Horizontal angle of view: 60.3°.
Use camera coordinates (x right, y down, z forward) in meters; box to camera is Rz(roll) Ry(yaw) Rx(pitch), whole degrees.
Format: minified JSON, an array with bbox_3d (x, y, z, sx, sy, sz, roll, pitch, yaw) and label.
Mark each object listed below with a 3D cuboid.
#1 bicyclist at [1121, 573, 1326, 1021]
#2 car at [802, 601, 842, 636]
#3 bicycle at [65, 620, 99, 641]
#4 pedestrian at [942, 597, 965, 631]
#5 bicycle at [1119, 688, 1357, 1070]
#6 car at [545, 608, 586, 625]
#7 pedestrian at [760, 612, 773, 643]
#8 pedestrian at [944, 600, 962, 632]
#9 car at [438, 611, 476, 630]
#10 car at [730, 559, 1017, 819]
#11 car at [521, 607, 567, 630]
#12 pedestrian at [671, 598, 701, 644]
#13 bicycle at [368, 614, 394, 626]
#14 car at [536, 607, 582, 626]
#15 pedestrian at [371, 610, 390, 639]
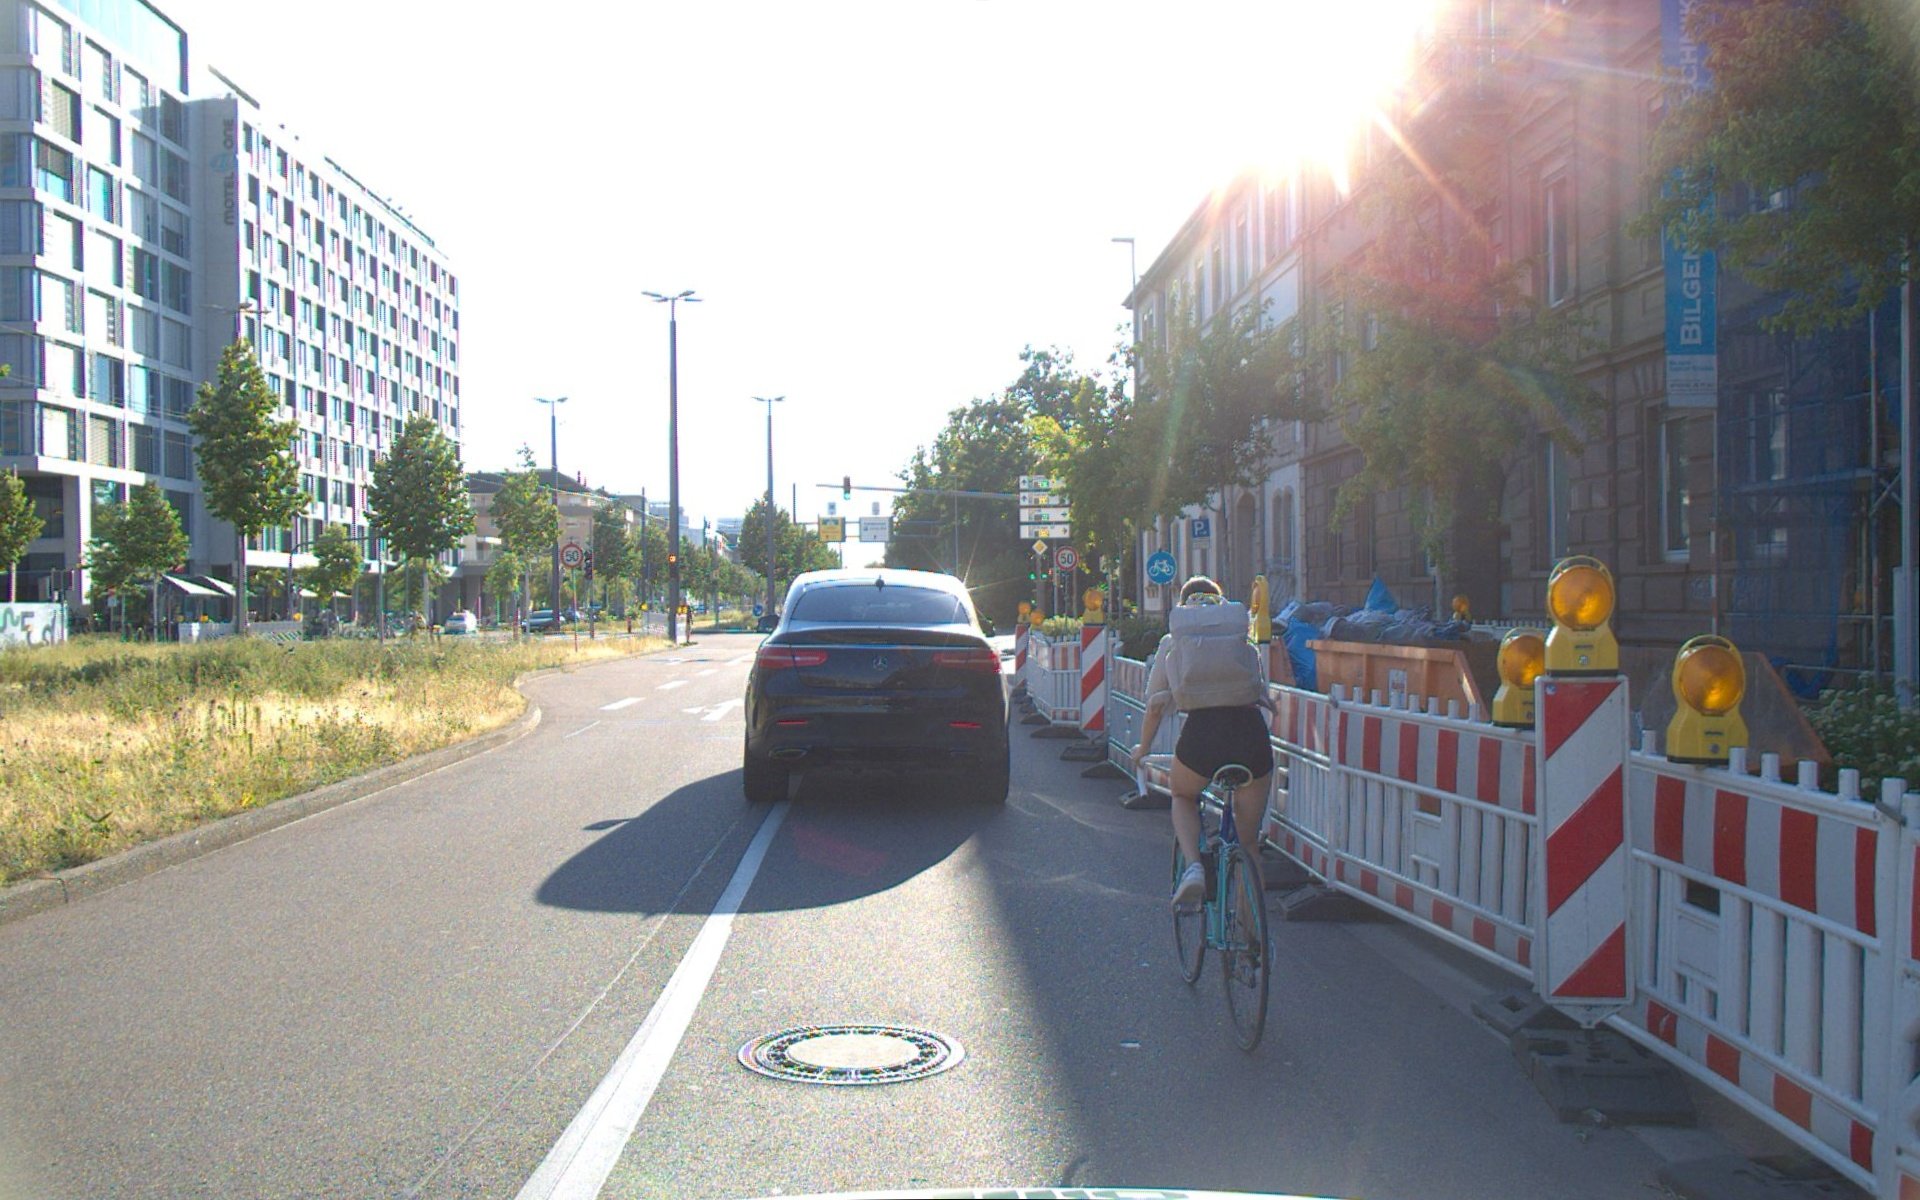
[{"bbox_3d":[0.950,0.666,6.176,0.541,1.517,1.080,0,0,-3],"label":"bicyclist"},{"bbox_3d":[-6.695,0.867,80.477,1.848,1.608,3.997,1,0,-3],"label":"car"},{"bbox_3d":[-43.011,1.488,81.064,0.606,0.952,2.215,0,0,-3],"label":"bicycle"},{"bbox_3d":[-0.379,0.781,91.634,0.850,1.833,0.895,-2,0,-37],"label":"pedestrian"},{"bbox_3d":[0.986,0.945,6.244,0.510,1.116,1.842,0,0,-2],"label":"bicycle"},{"bbox_3d":[-39.239,1.625,164.571,3.597,1.550,1.595,2,-1,-44],"label":"car"},{"bbox_3d":[-10.618,1.509,90.838,0.586,1.729,0.714,0,0,2],"label":"pedestrian"},{"bbox_3d":[-0.377,0.875,90.572,0.753,1.665,0.767,-2,0,-12],"label":"pedestrian"},{"bbox_3d":[-37.025,1.473,121.827,1.721,1.351,3.998,1,0,-2],"label":"car"},{"bbox_3d":[-0.572,0.596,13.362,1.952,1.765,4.000,1,0,1],"label":"car"},{"bbox_3d":[-25.429,1.134,101.208,1.853,1.367,4.847,0,0,-3],"label":"car"},{"bbox_3d":[-10.056,0.768,60.686,0.904,1.678,0.766,0,-1,9],"label":"pedestrian"},{"bbox_3d":[-44.289,1.501,126.464,1.771,0.921,0.511,0,0,-9],"label":"bicycle"},{"bbox_3d":[-39.025,1.591,161.055,4.064,1.629,1.722,3,-1,-44],"label":"car"},{"bbox_3d":[-36.283,1.528,103.597,0.851,1.752,0.804,0,0,7],"label":"pedestrian"}]
